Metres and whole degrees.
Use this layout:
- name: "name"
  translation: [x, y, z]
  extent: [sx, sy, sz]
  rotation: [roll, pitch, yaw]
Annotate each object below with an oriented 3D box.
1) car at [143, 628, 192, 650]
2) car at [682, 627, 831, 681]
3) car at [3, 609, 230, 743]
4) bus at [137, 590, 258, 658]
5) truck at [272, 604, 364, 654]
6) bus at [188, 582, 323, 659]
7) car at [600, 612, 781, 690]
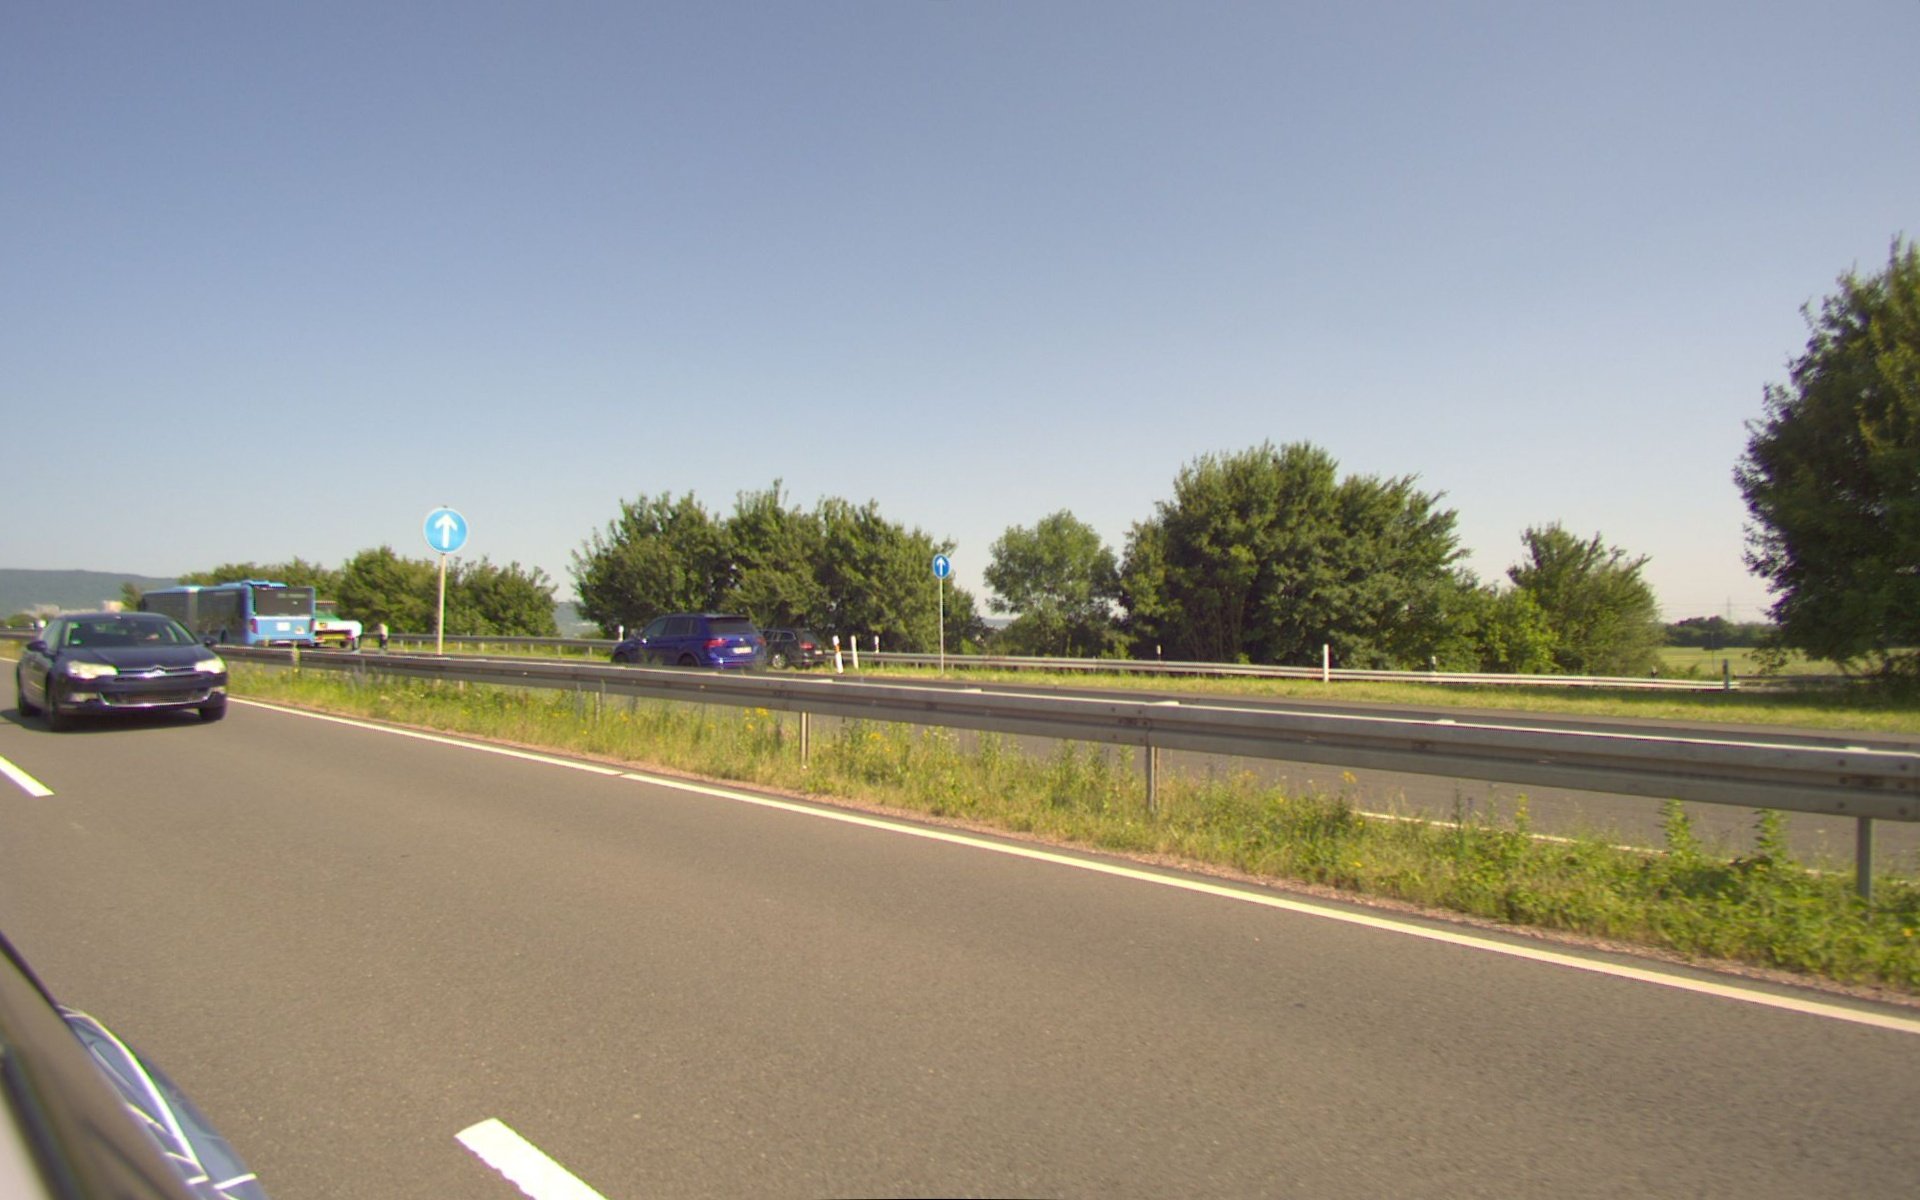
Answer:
- name: "car"
  translation: [-54.152, 2.654, 69.098]
  extent: [3.995, 1.457, 1.767]
  rotation: [-2, -3, 39]
- name: "car"
  translation: [-6.944, 1.816, 34.554]
  extent: [4.713, 1.713, 1.829]
  rotation: [-1, -1, 18]
- name: "car"
  translation: [-11.705, 0.910, 13.938]
  extent: [4.373, 1.545, 1.765]
  rotation: [0, 0, 41]
- name: "bus"
  translation: [-38.601, 1.242, 51.078]
  extent: [9.827, 3.134, 2.698]
  rotation: [-1, -2, 40]
- name: "truck"
  translation: [-33.565, 1.518, 52.821]
  extent: [6.612, 2.472, 2.105]
  rotation: [-1, -3, 40]
- name: "bus"
  translation: [-31.597, 0.947, 45.233]
  extent: [8.383, 3.134, 2.698]
  rotation: [-1, -2, 39]
- name: "car"
  translation: [-6.268, 1.142, 23.347]
  extent: [4.271, 1.617, 1.973]
  rotation: [-2, -1, 41]
